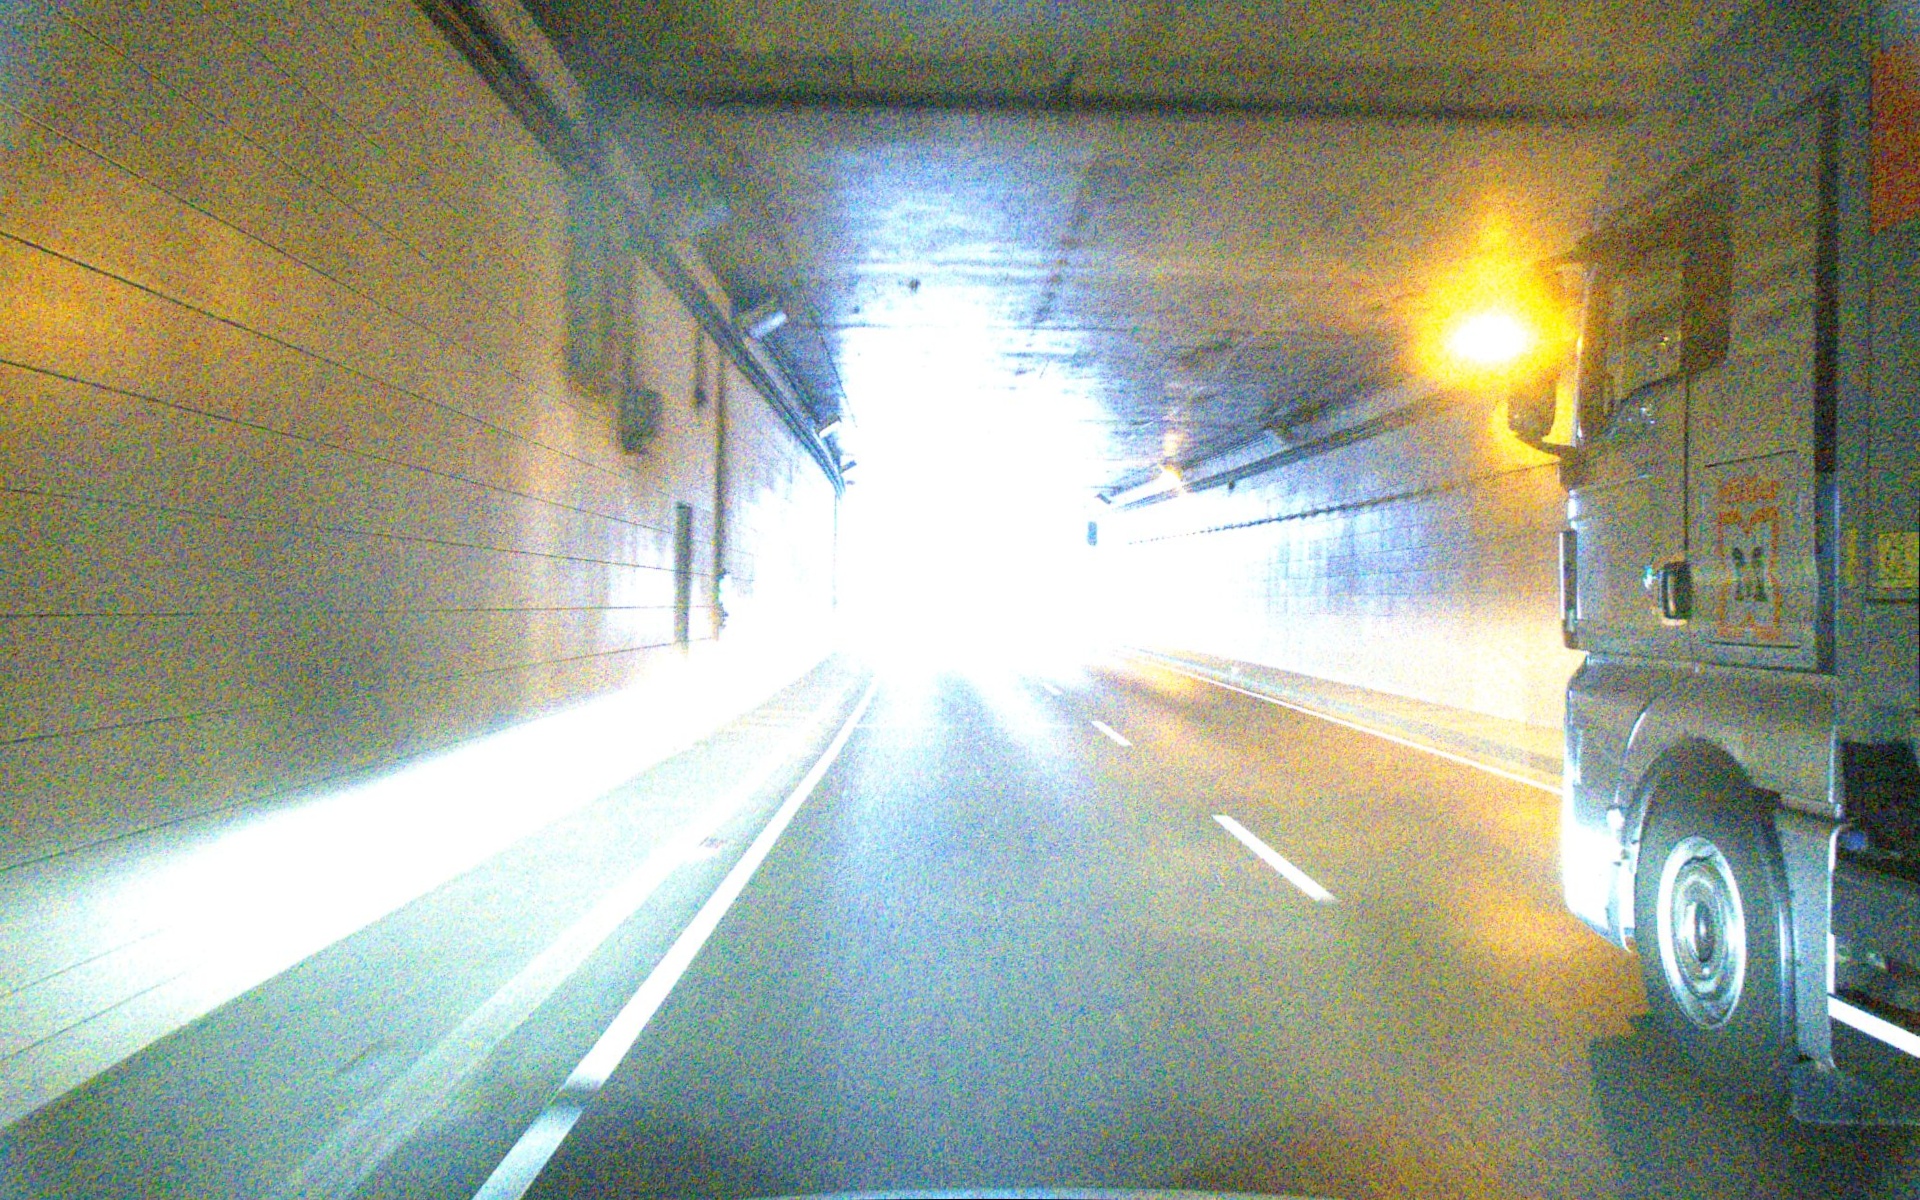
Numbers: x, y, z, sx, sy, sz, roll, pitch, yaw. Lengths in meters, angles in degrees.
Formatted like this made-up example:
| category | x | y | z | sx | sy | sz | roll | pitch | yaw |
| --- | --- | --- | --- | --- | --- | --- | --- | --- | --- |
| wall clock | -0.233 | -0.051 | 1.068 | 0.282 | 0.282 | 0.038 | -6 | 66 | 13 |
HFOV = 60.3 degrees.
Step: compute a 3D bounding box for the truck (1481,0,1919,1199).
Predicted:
| category | x | y | z | sx | sy | sz | roll | pitch | yaw |
| --- | --- | --- | --- | --- | --- | --- | --- | --- | --- |
| truck | 3.674 | -0.520 | 1.794 | 2.830 | 3.982 | 9.905 | 0 | 0 | -2 |
